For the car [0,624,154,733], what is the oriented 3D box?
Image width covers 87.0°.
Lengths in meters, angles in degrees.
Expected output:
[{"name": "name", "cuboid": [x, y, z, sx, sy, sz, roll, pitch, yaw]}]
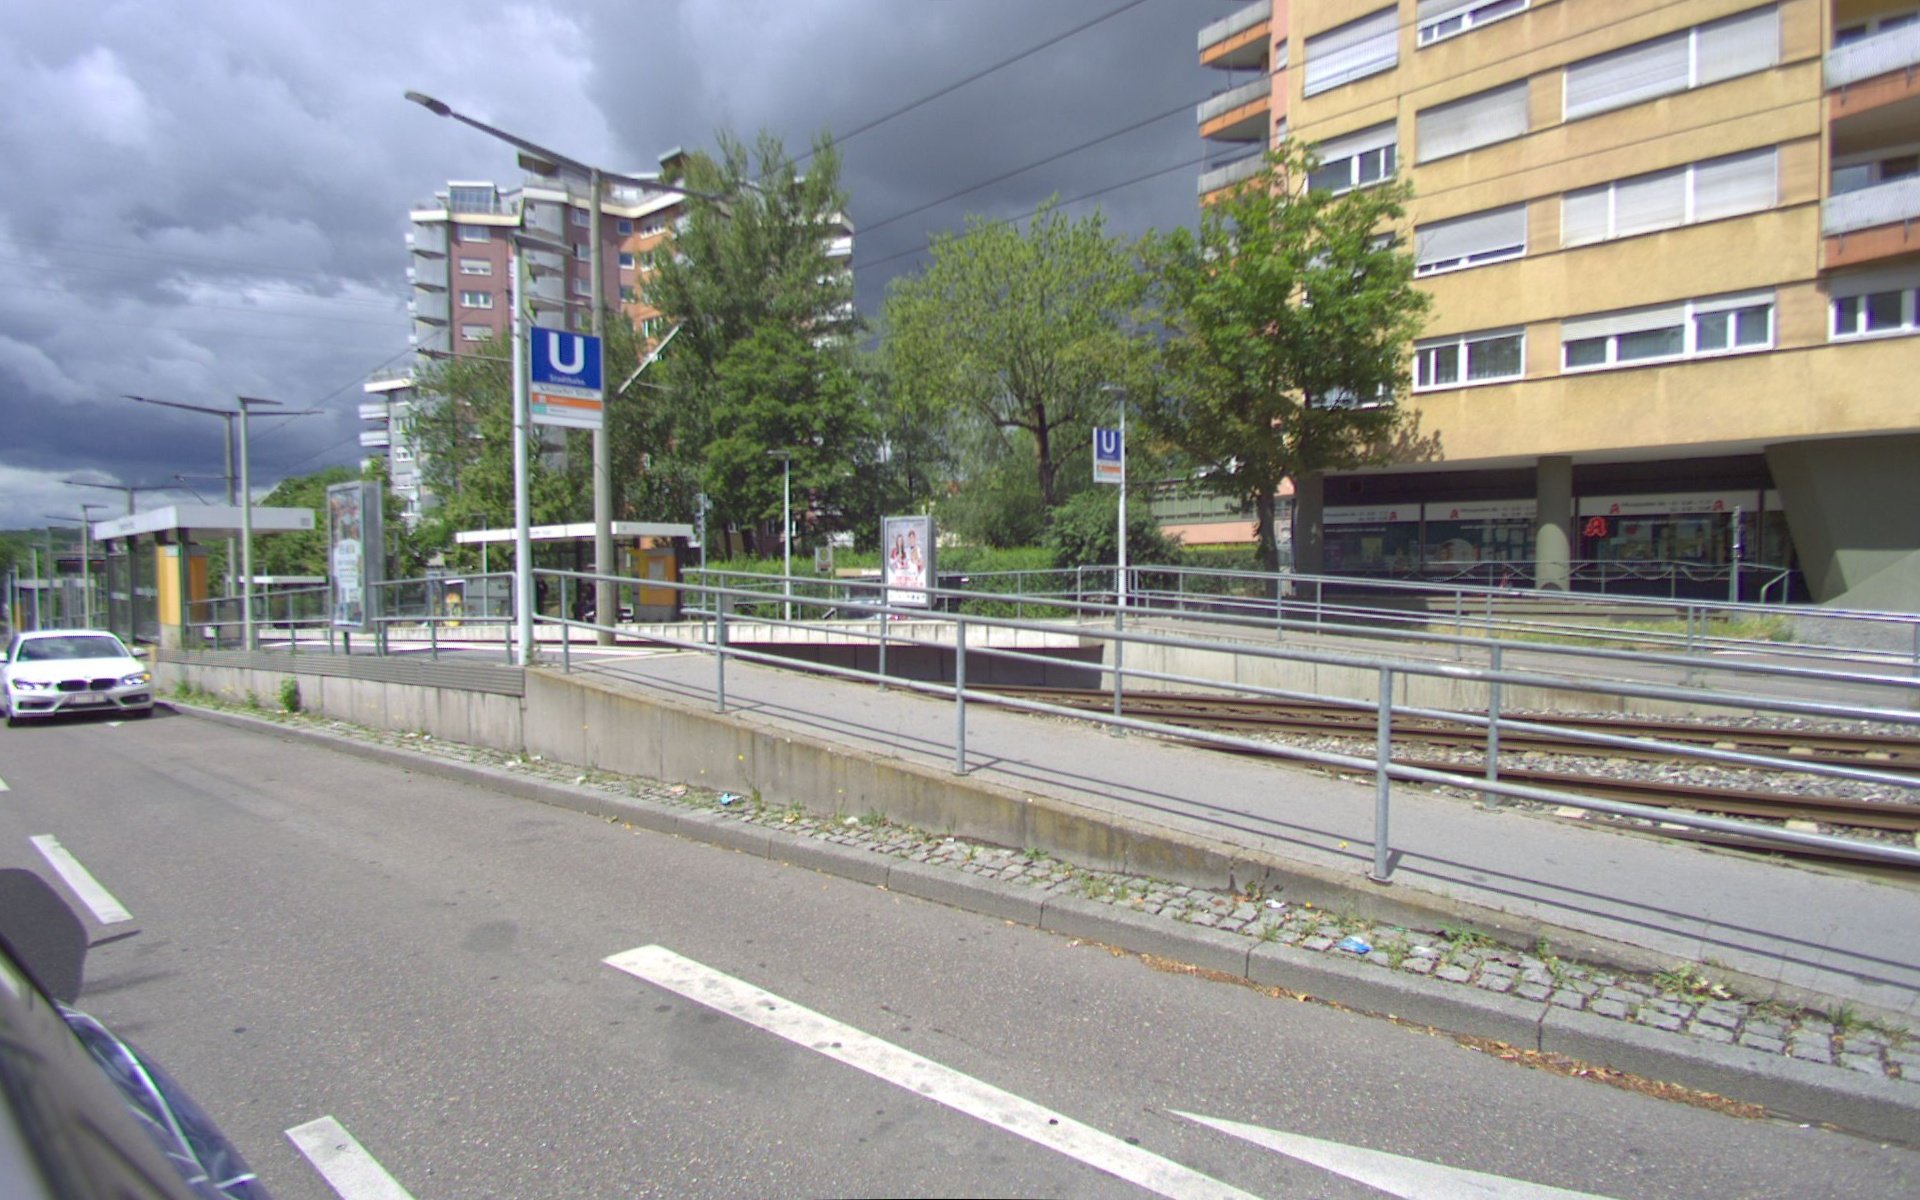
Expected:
[{"name": "car", "cuboid": [-14.488, 1.161, 16.281, 3.998, 1.472, 1.710, -1, 0, 42]}]

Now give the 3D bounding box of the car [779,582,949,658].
[{"name": "car", "cuboid": [-2.614, 0.532, 26.741, 4.509, 1.815, 1.972, -1, -2, 42]}]

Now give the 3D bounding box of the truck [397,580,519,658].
[{"name": "truck", "cuboid": [-22.782, 0.887, 45.762, 7.260, 3.247, 2.389, -2, -1, 42]}]
